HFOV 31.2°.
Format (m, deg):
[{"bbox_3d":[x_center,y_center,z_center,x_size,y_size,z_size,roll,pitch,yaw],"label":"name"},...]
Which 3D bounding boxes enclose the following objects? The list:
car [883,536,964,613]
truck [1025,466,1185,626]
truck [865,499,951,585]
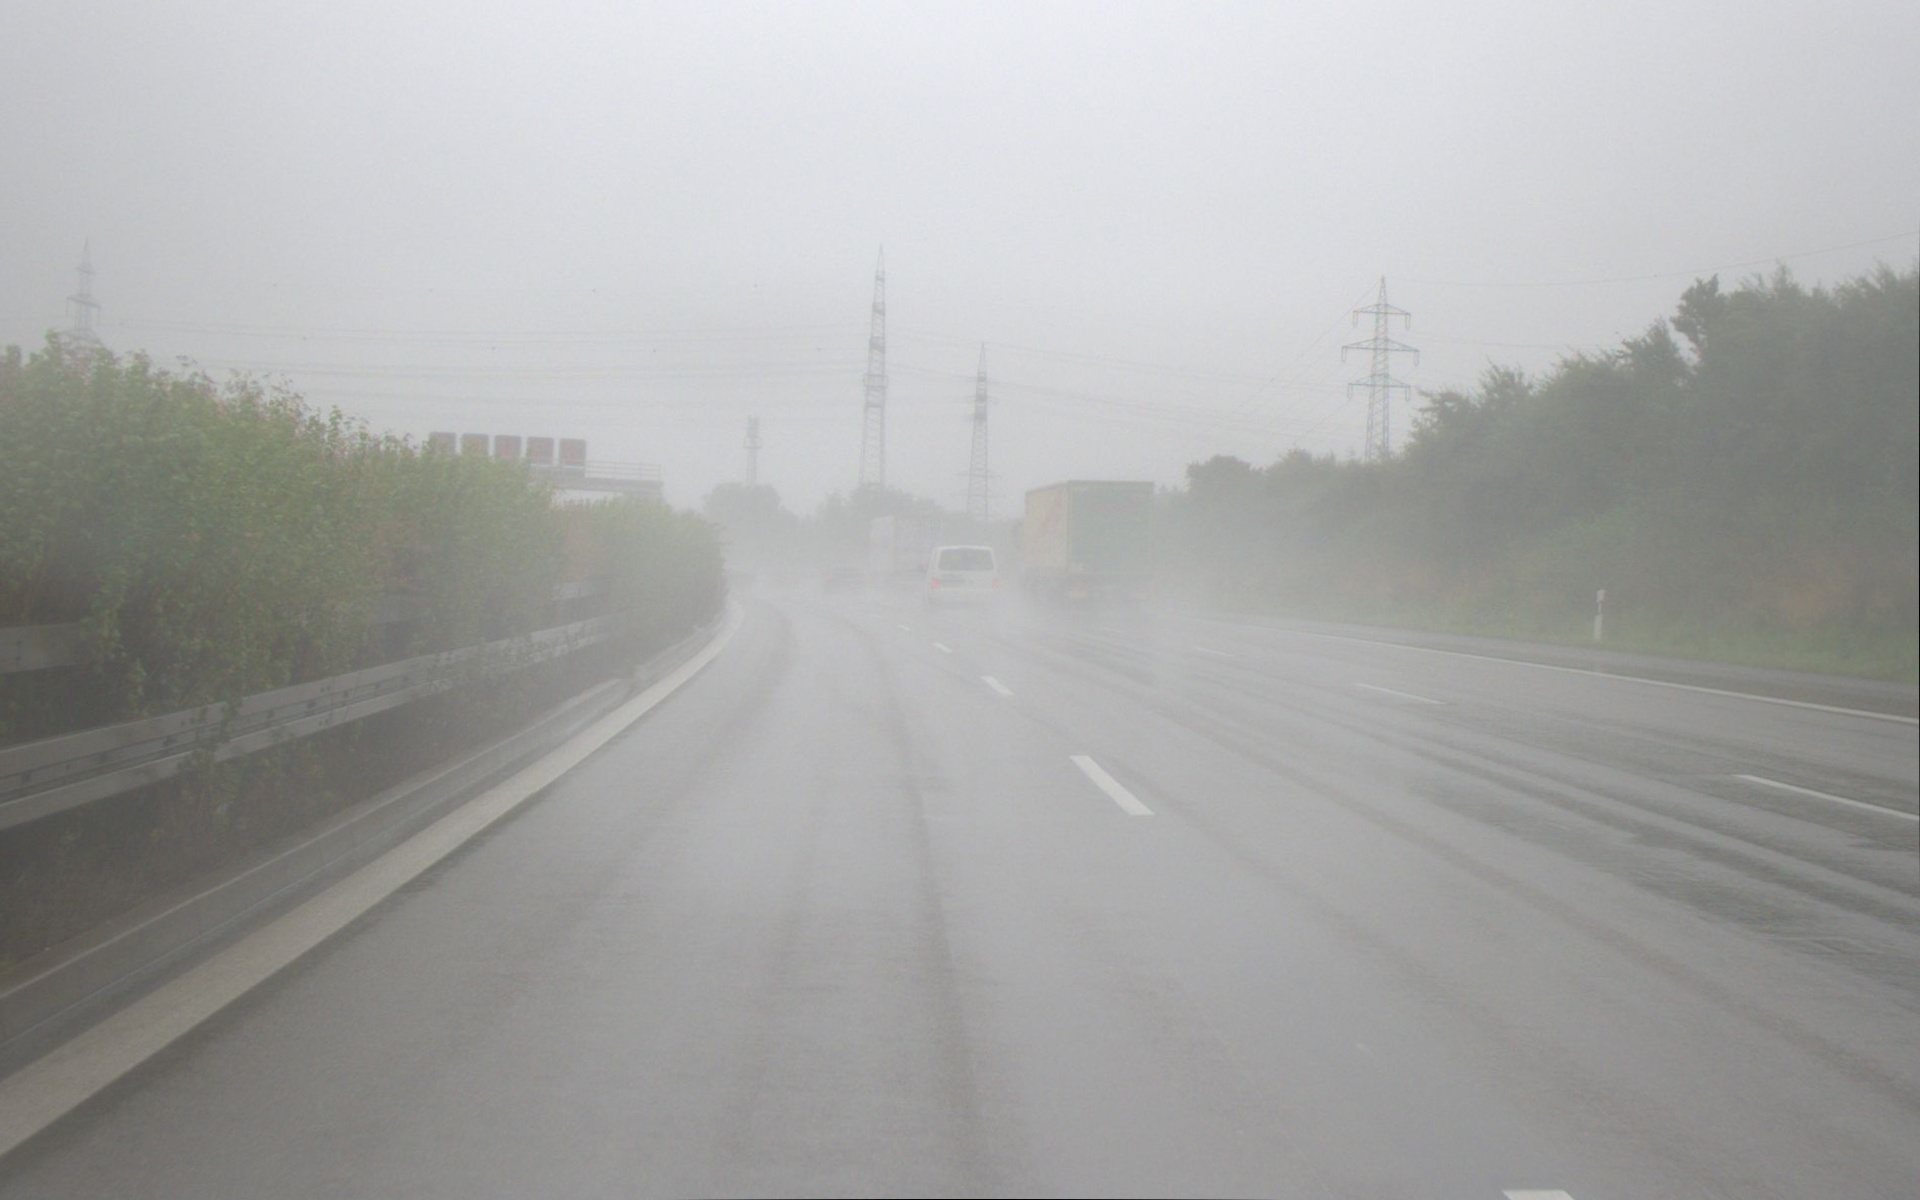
[{"bbox_3d":[-1.011,-0.693,92.438,1.993,2.007,4.001,1,1,-3],"label":"car"},{"bbox_3d":[4.368,-1.606,107.962,4.189,4.614,16.105,1,0,0],"label":"truck"},{"bbox_3d":[-2.743,-2.990,178.194,3.232,4.297,8.839,1,1,-9],"label":"truck"}]
